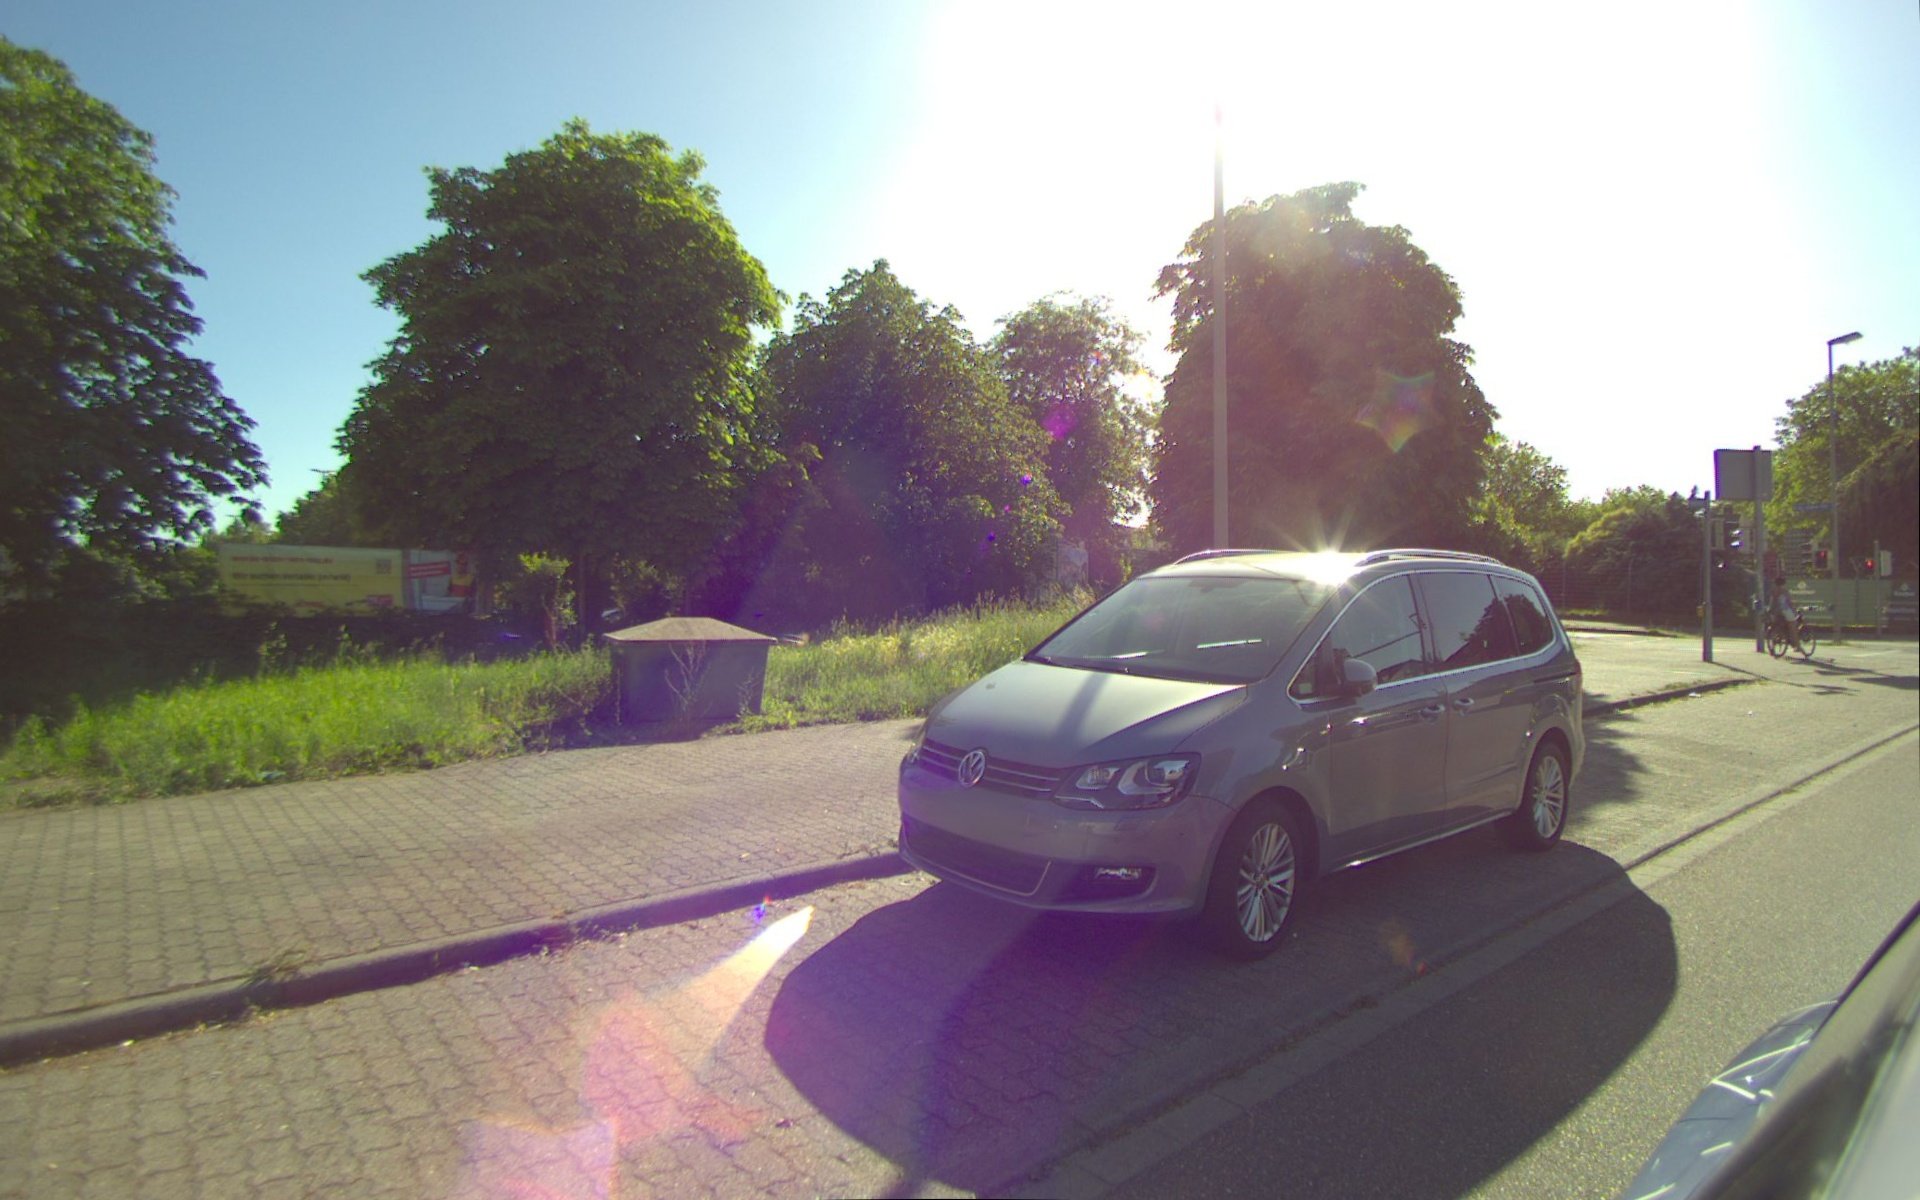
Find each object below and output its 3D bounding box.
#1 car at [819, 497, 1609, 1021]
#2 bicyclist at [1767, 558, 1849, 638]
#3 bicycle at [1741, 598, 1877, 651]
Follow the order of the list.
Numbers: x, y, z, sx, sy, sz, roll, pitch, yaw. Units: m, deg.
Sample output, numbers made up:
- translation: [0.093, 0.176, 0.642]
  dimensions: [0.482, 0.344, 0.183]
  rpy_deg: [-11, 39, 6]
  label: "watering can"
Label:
- translation: [1.666, 0.478, 5.535]
  dimensions: [4.530, 1.743, 1.877]
  rpy_deg: [-1, 2, -40]
  label: "car"
- translation: [18.759, -0.034, 22.397]
  dimensions: [1.165, 1.714, 0.894]
  rpy_deg: [0, -1, -18]
  label: "bicyclist"
- translation: [18.766, 0.526, 22.374]
  dimensions: [2.891, 1.140, 0.905]
  rpy_deg: [0, -1, -18]
  label: "bicycle"
